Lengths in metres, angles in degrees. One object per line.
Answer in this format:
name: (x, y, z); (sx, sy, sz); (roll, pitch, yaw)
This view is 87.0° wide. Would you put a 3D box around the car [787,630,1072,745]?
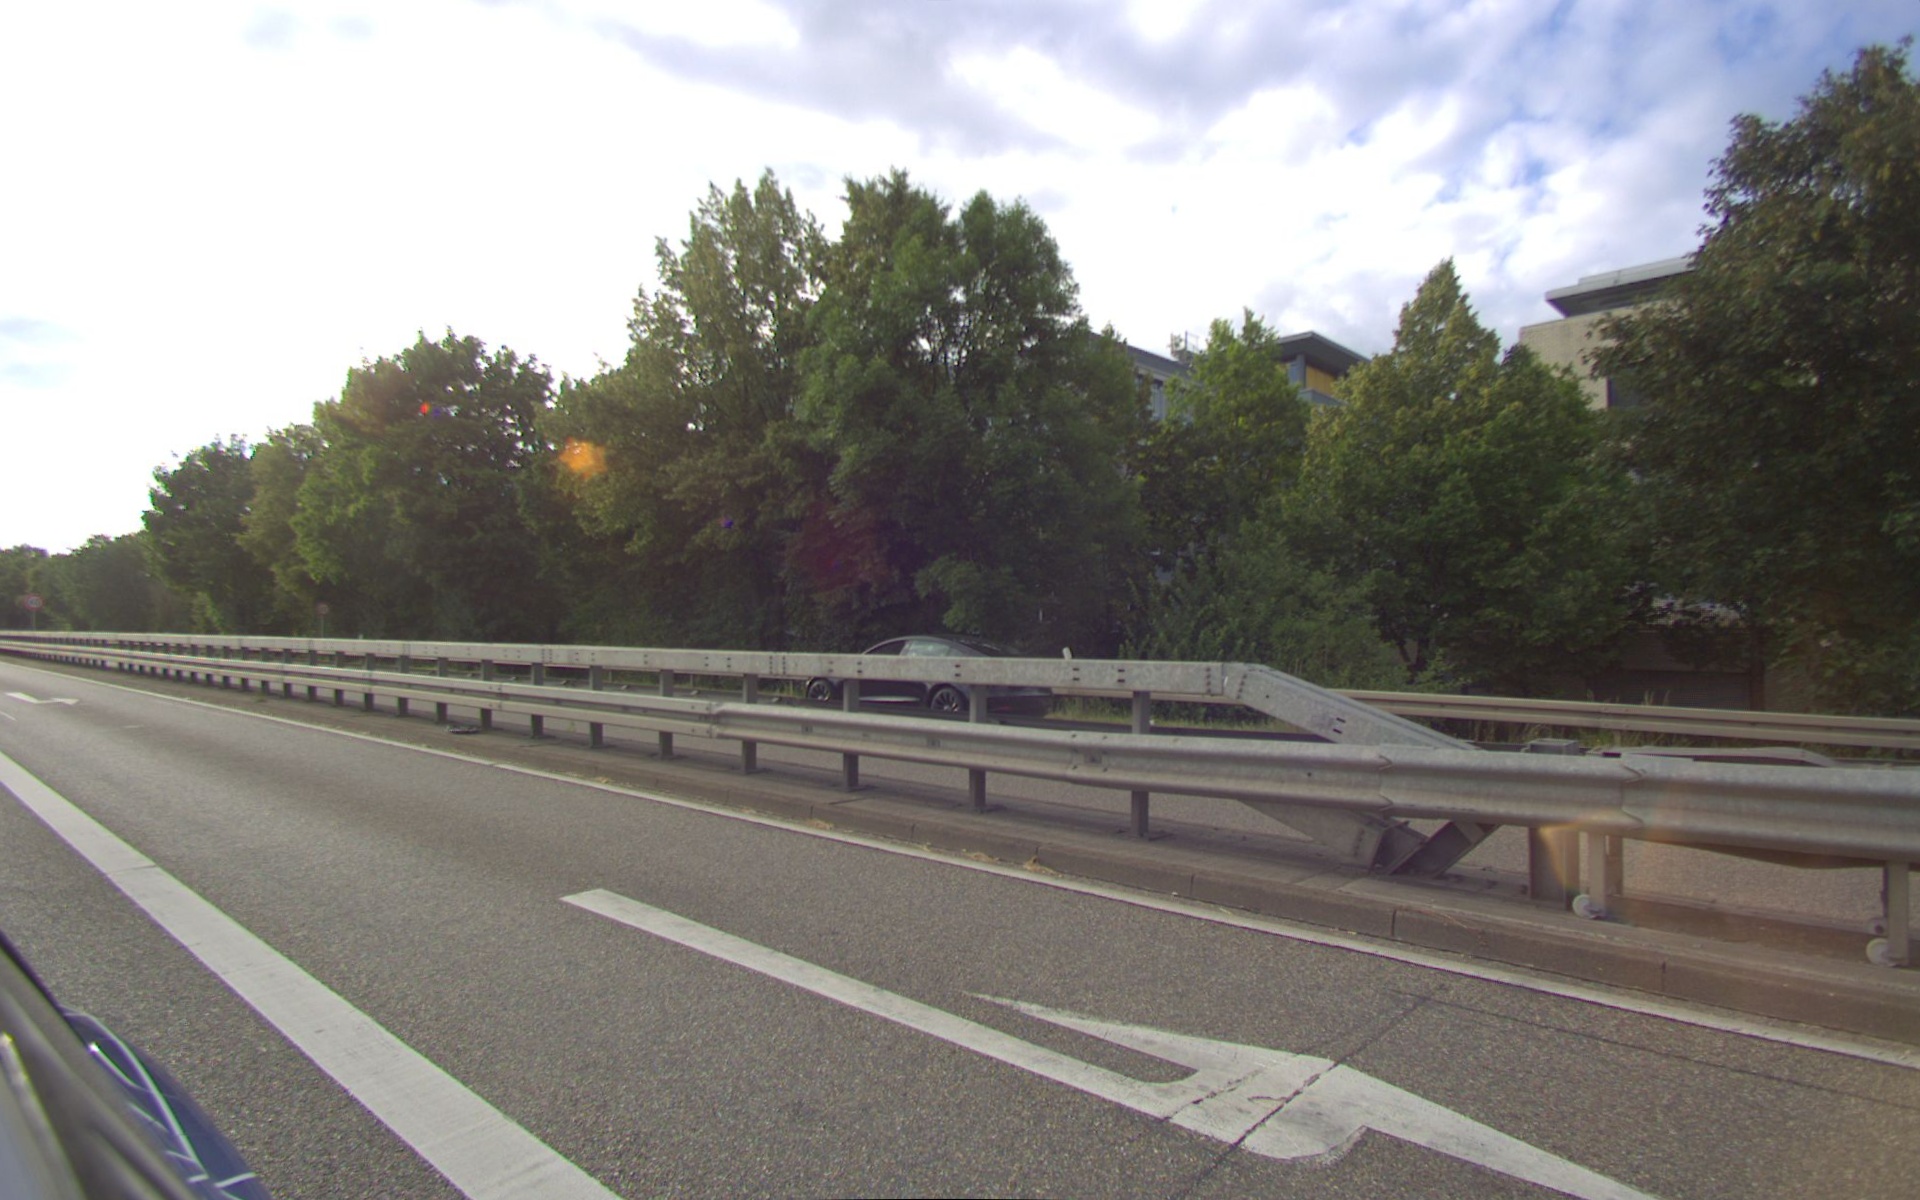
car: (-0.574, 1.264, 15.999); (4.370, 1.468, 1.896); (-1, 0, 40)
